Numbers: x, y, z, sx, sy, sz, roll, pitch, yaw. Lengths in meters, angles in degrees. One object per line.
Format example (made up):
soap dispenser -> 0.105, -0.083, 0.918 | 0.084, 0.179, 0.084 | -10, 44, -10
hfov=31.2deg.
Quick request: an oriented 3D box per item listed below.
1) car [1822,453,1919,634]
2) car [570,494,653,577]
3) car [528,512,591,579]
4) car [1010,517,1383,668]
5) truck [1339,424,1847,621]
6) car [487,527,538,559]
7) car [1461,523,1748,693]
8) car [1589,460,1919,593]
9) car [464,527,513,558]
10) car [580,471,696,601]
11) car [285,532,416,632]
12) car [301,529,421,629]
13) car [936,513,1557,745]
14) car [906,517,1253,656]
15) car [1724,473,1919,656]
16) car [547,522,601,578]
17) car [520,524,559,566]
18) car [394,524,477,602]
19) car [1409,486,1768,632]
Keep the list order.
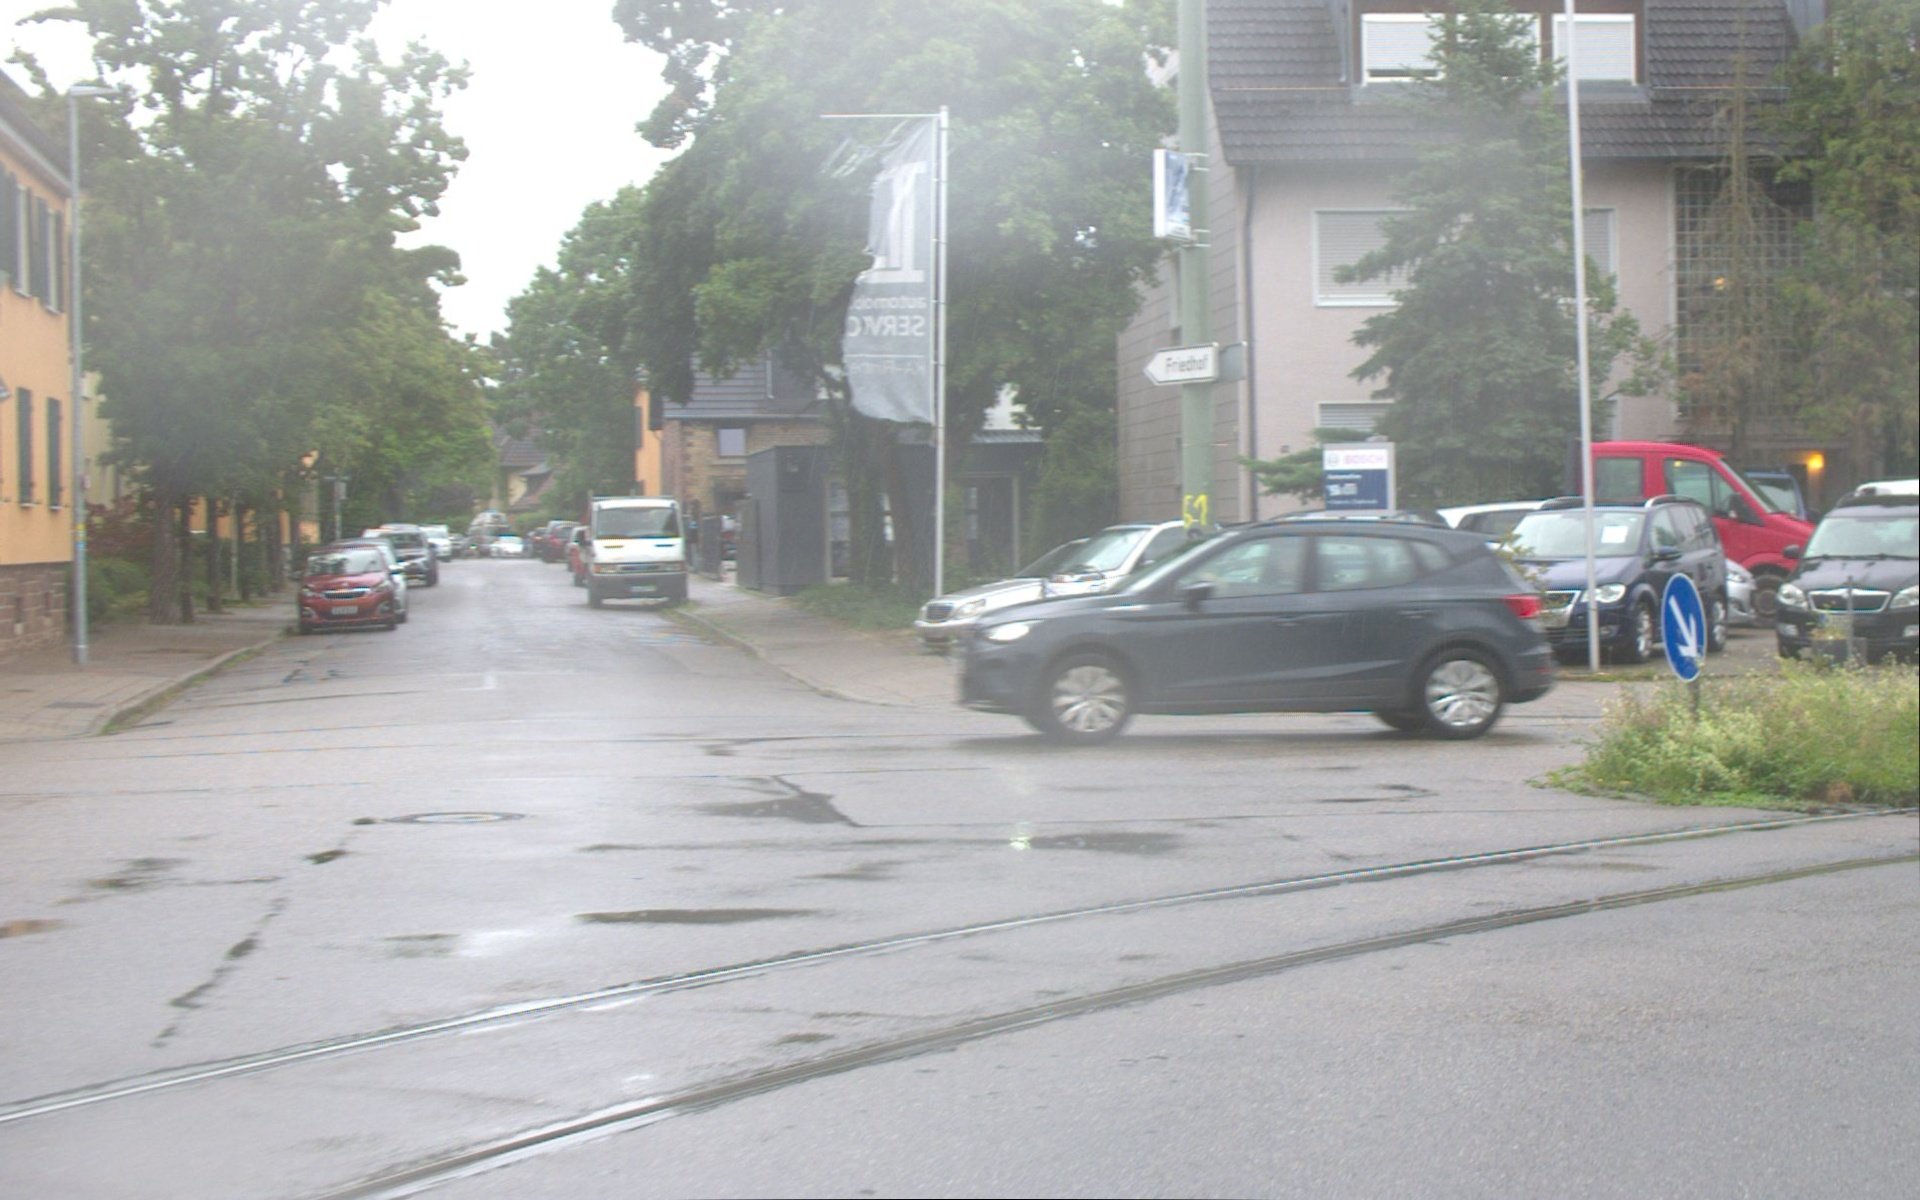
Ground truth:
car -> 12.401, -0.671, 39.453 | 4.432, 2.007, 2.000 | -1, 0, -3
car -> -8.843, -1.630, 87.230 | 1.993, 2.007, 4.001 | 1, 1, -6
car -> -12.594, -1.715, 107.931 | 1.828, 2.007, 4.001 | 1, 1, -8
car -> 2.725, -0.109, 39.577 | 3.858, 1.573, 1.808 | -2, 1, -25
truck -> 7.928, -0.937, 42.992 | 6.087, 2.264, 1.999 | -1, 0, 14
car -> -24.789, -3.154, 190.417 | 1.828, 1.691, 4.033 | 1, 1, -22
car -> 6.587, 0.047, 34.824 | 1.804, 1.573, 3.866 | -1, 1, 27
car -> 10.924, -0.977, 46.383 | 4.432, 1.681, 2.000 | -1, 0, -3
car -> -26.869, -3.288, 195.752 | 1.828, 1.691, 4.033 | 1, 1, -22
car -> -6.675, -1.326, 70.944 | 2.152, 2.564, 4.135 | 1, 1, -8
car -> -10.292, -0.314, 58.287 | 1.993, 1.612, 4.001 | -1, 1, -8
car -> -10.929, -0.403, 62.939 | 1.993, 1.744, 4.001 | -1, 1, -8
car -> 1.939, 0.170, 24.050 | 3.986, 1.471, 2.000 | -1, 1, -7
car -> 1.481, -0.186, 42.606 | 3.858, 1.573, 1.808 | -2, 1, -25
car -> 9.189, -0.381, 34.510 | 1.996, 1.711, 3.994 | -1, 1, 27
car -> -14.277, -1.859, 127.057 | 1.828, 2.007, 4.001 | 1, 1, -8
car -> -21.084, -2.769, 172.382 | 1.828, 2.007, 4.001 | 1, 1, -8
car -> -14.114, -1.013, 92.686 | 1.993, 2.007, 4.001 | 1, 1, -6
car -> 7.377, -0.469, 40.233 | 3.968, 1.592, 1.999 | -1, 0, 15
